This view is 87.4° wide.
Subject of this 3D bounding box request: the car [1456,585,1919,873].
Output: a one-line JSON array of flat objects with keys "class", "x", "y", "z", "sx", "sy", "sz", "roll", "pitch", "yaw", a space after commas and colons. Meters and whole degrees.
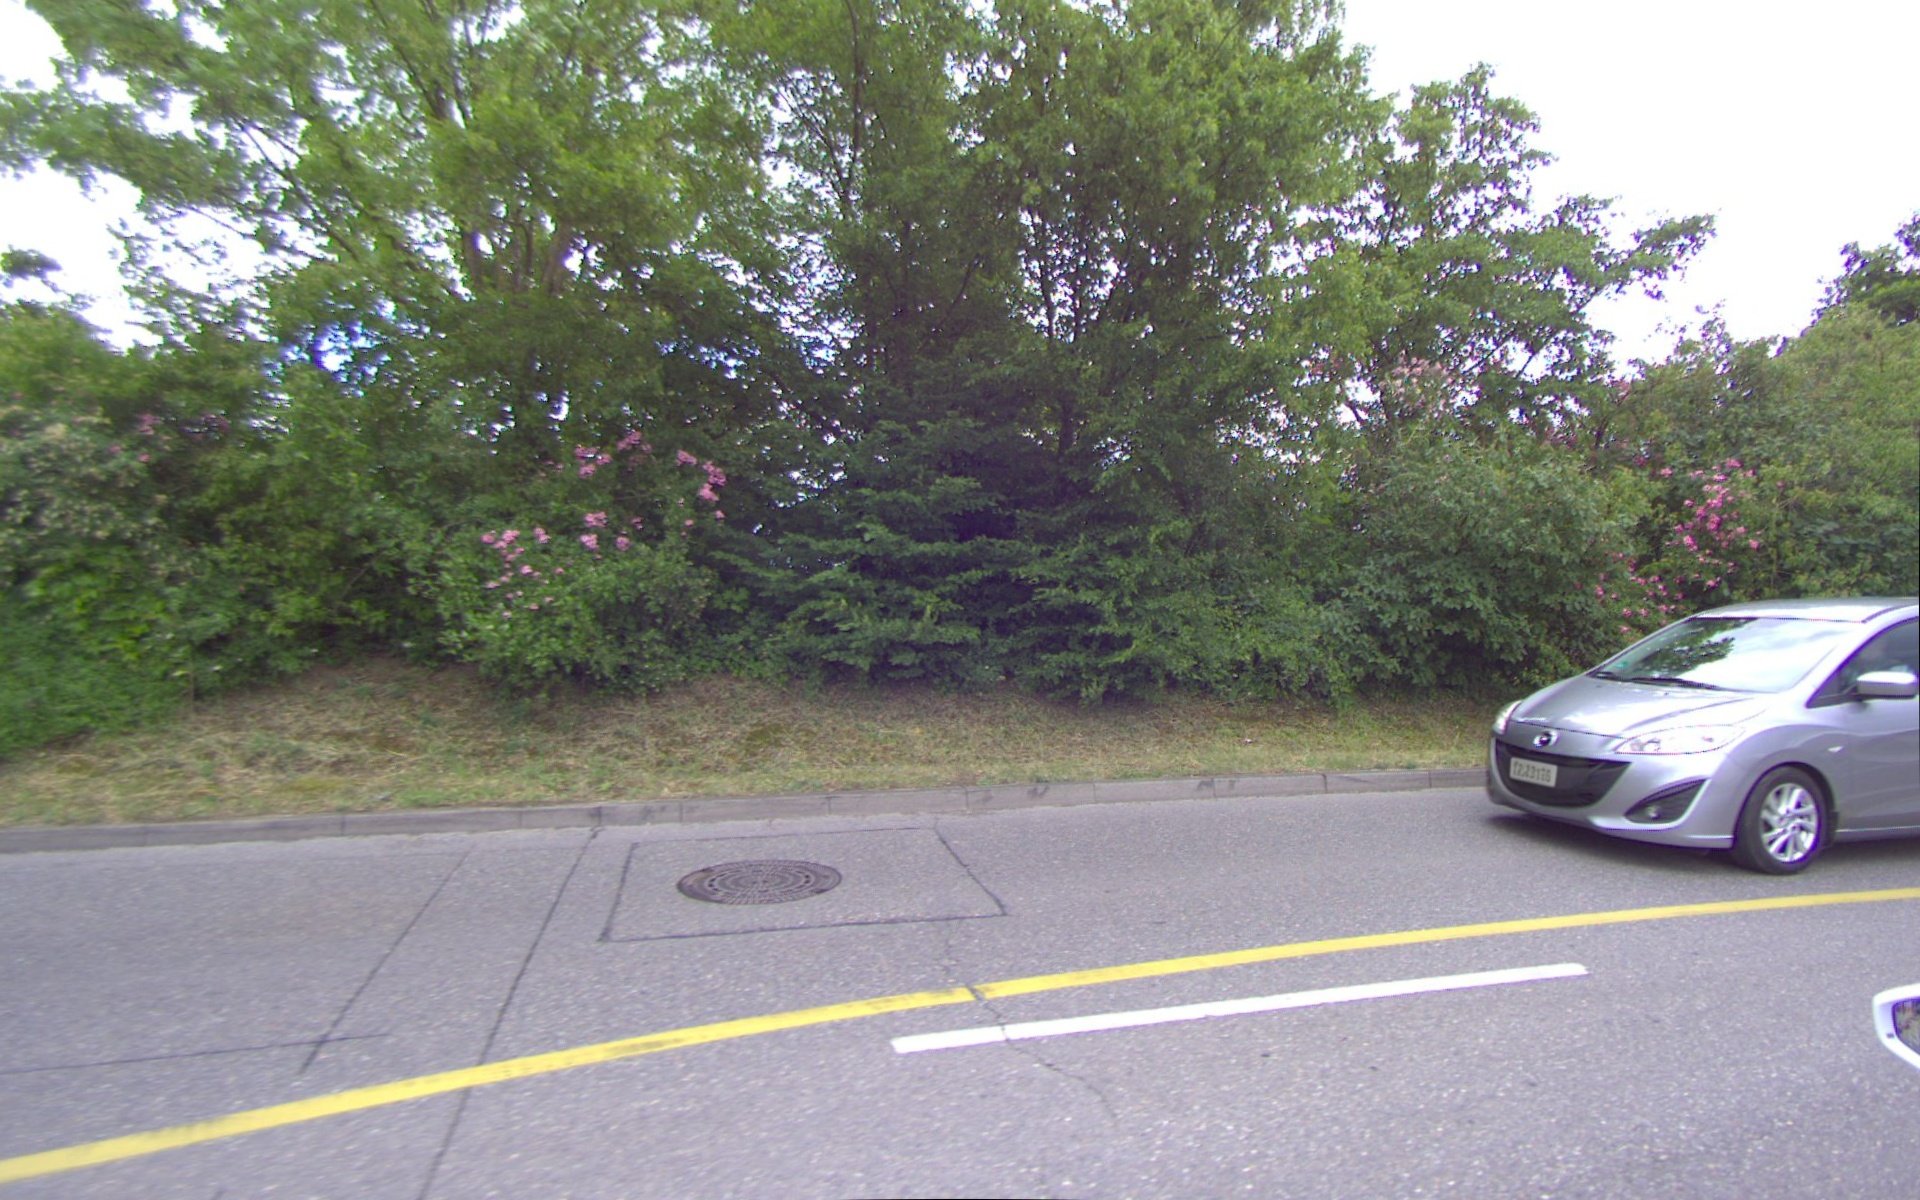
[{"class": "car", "x": 5.750, "y": 0.744, "z": 6.729, "sx": 4.276, "sy": 1.565, "sz": 1.634, "roll": 1, "pitch": 0, "yaw": -13}]
